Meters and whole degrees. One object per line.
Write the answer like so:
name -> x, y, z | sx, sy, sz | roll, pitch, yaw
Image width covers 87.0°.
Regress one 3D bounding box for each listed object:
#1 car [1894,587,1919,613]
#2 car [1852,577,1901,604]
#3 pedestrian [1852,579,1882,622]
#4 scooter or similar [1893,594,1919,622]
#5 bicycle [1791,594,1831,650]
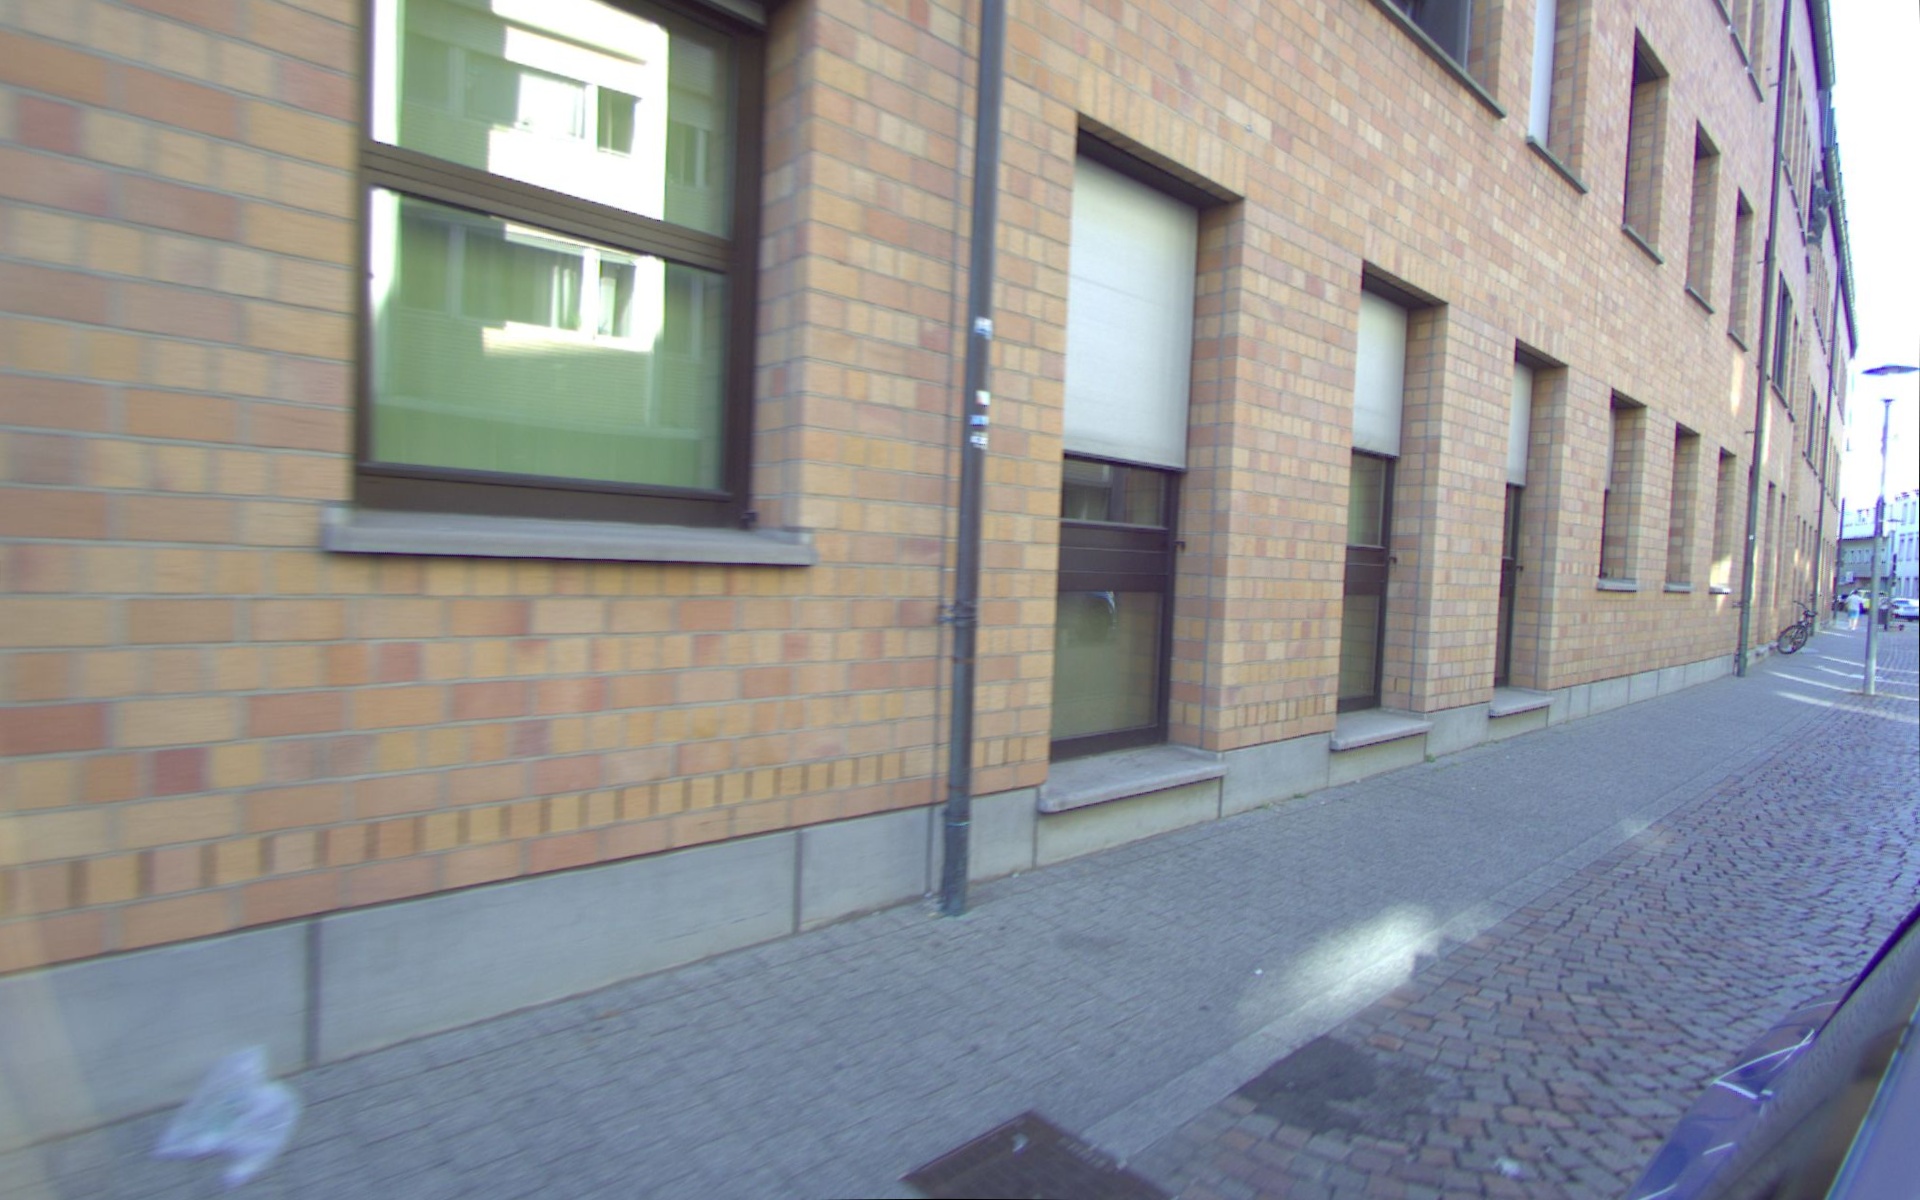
car -> 59.256, -0.001, 62.739 | 1.713, 1.536, 4.100 | 5, 4, 40
car -> 73.332, -0.753, 81.018 | 1.874, 1.895, 3.960 | 7, 5, 29
pedestrian -> 37.989, 0.020, 42.382 | 0.761, 1.736, 0.809 | 7, 5, 43
scooter or similar -> 42.736, 0.361, 45.391 | 1.389, 1.251, 0.539 | 2, 1, -9
bicycle -> 18.941, 0.462, 22.515 | 0.549, 1.116, 1.953 | 8, 6, 40
